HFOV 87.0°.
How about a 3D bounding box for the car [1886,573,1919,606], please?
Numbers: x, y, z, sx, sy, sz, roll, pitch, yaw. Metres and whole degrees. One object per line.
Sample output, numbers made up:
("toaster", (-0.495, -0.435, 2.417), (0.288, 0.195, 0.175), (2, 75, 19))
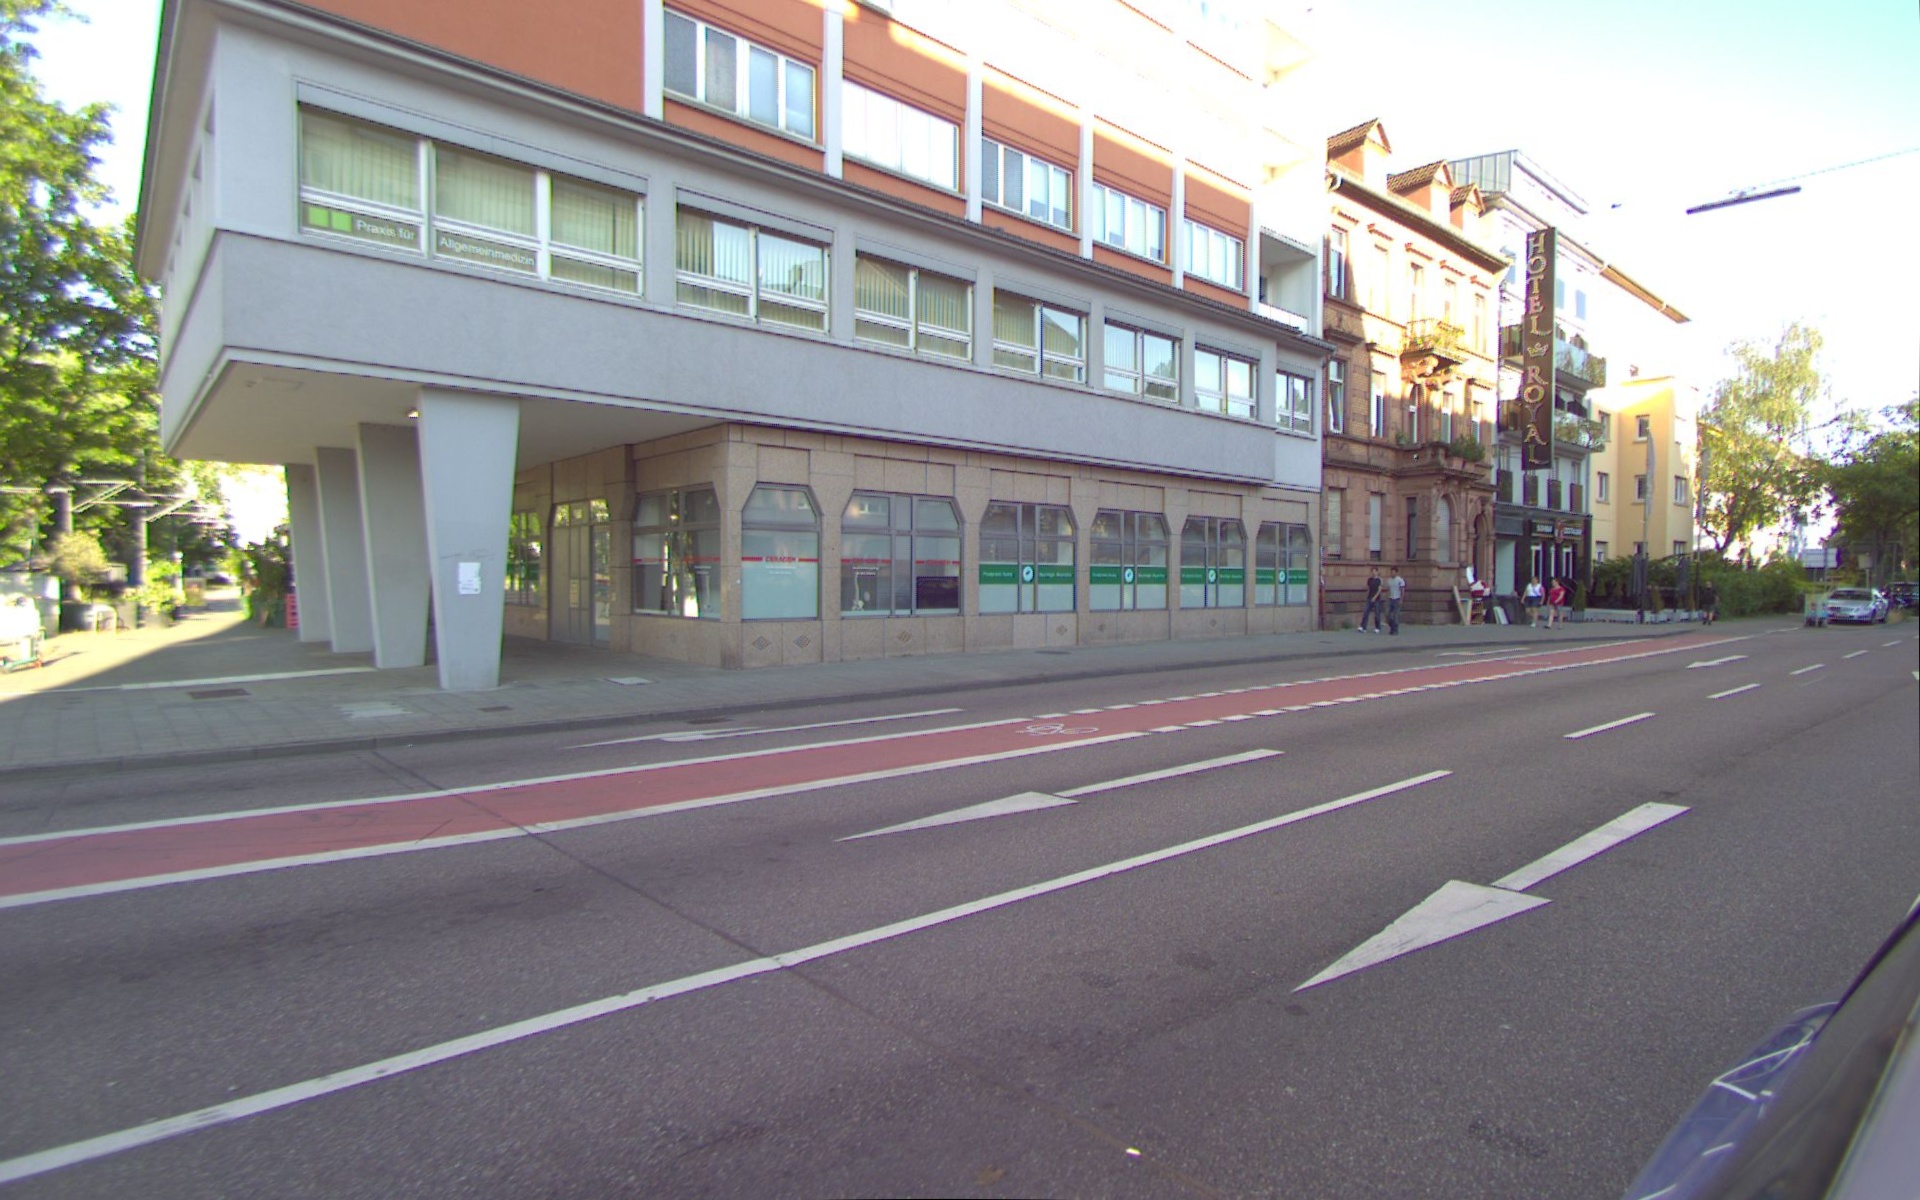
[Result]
("car", (49.516, -0.556, 52.327), (4.121, 1.645, 1.946), (-1, 2, -41))

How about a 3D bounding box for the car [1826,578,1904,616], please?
("car", (37.753, -0.158, 42.203), (4.003, 1.536, 1.905), (-1, 2, -40))

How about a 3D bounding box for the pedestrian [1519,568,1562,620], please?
("pedestrian", (18.809, -0.191, 32.792), (0.992, 1.606, 0.787), (-1, 5, -36))

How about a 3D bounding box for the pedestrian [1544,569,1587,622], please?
("pedestrian", (19.305, -0.167, 32.254), (0.992, 1.606, 0.739), (-1, 5, -36))

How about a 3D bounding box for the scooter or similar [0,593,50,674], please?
("scooter or similar", (-16.108, 0.544, 17.158), (0.474, 1.250, 1.565), (0, 2, -21))

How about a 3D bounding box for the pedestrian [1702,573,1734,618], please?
("pedestrian", (28.355, -0.187, 37.853), (0.994, 1.621, 0.738), (-1, 4, -43))

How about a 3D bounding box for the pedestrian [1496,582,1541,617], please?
("pedestrian", (18.747, -0.027, 33.968), (0.909, 1.150, 1.099), (-1, 1, -43))

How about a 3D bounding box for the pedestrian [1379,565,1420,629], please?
("pedestrian", (12.278, -0.102, 28.267), (0.993, 1.747, 0.667), (0, 1, -40))

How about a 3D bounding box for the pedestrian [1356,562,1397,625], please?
("pedestrian", (11.889, -0.190, 28.882), (0.993, 1.747, 0.668), (0, 1, -39))
